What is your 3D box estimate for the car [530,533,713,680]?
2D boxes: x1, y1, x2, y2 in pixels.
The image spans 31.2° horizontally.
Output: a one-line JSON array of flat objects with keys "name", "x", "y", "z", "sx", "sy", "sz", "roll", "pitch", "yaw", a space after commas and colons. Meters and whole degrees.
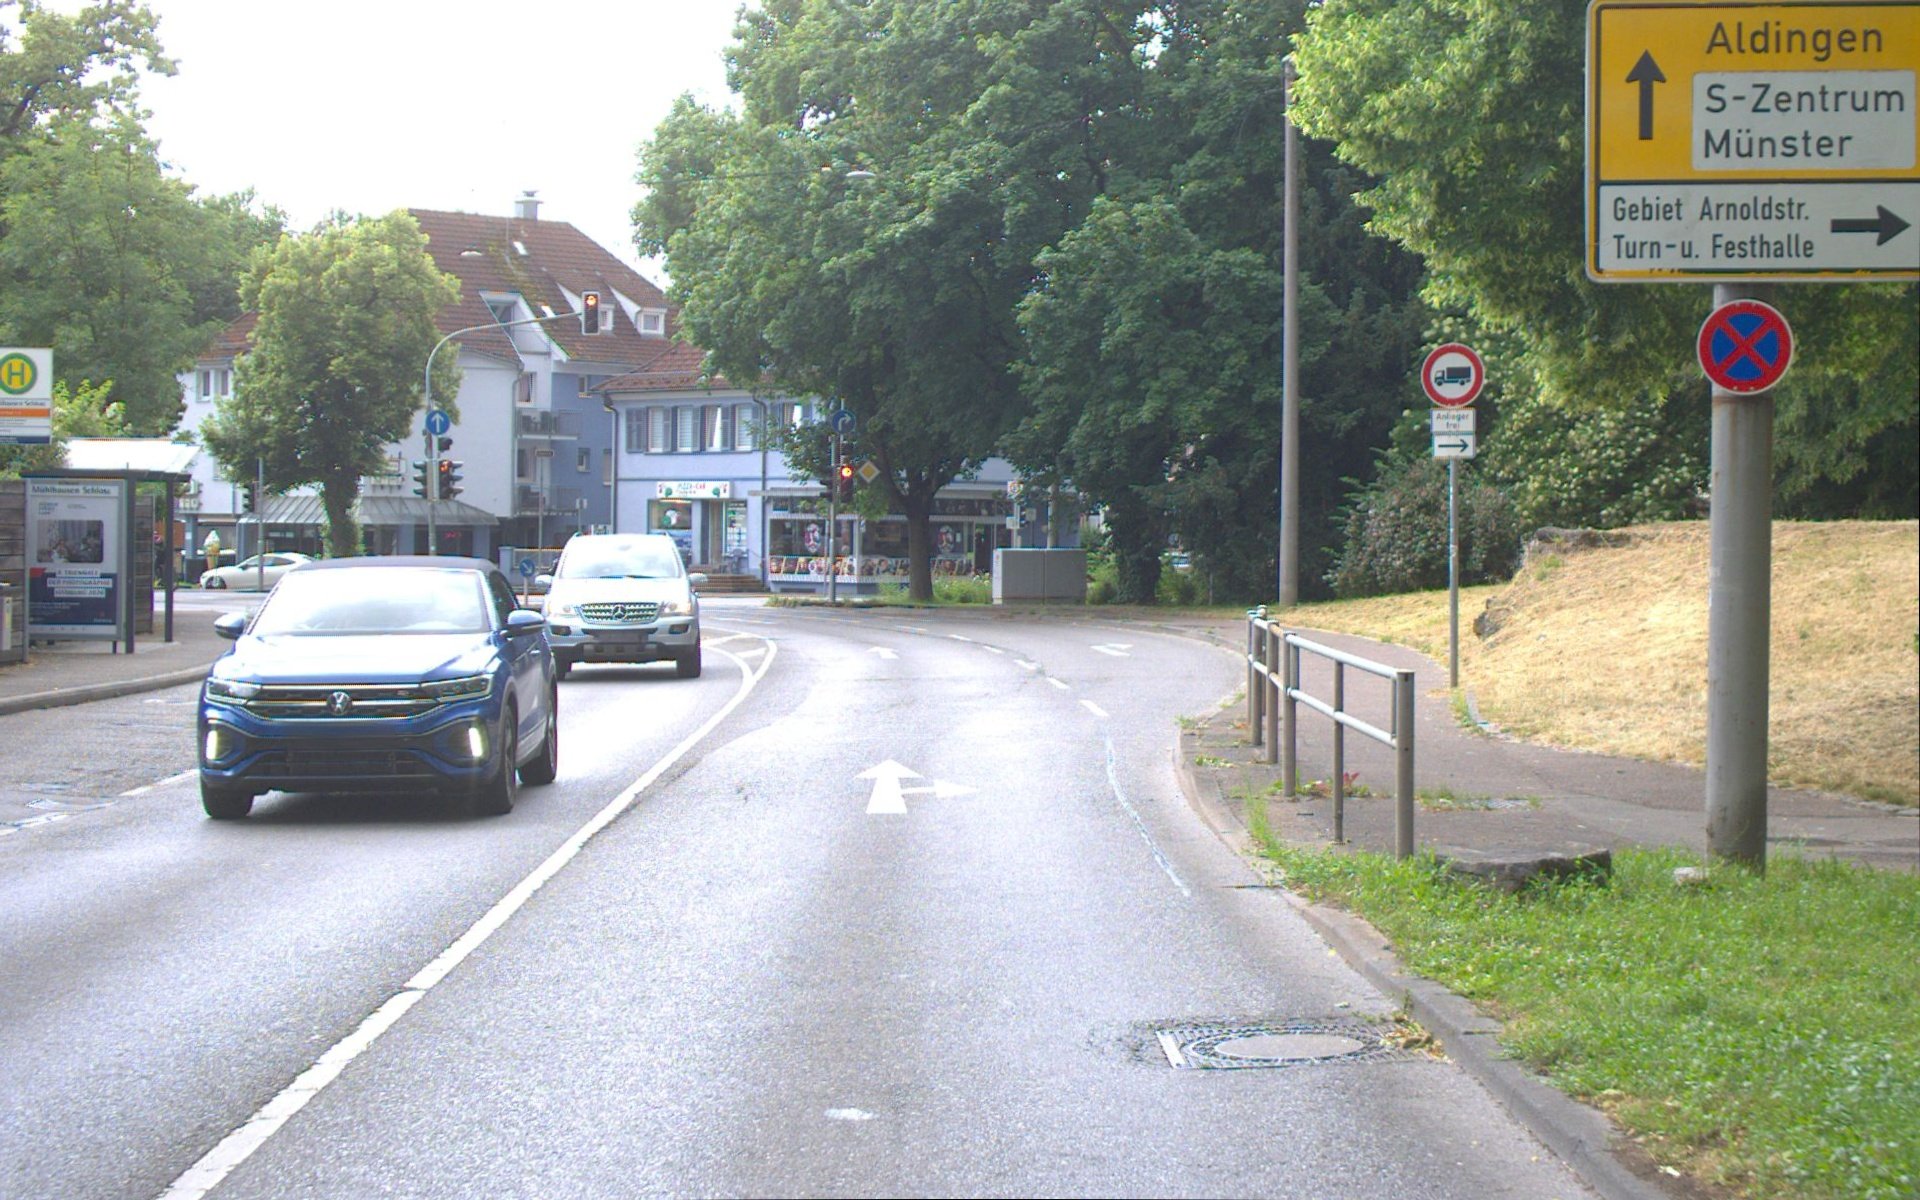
[{"name": "car", "x": -4.155, "y": 0.044, "z": 42.821, "sx": 1.935, "sy": 1.718, "sz": 4.692, "roll": -1, "pitch": 1, "yaw": -2}]

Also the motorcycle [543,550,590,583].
[{"name": "motorcycle", "x": -13.902, "y": -1.184, "z": 121.333, "sx": 1.496, "sy": 1.103, "sz": 0.560, "roll": -1, "pitch": 6, "yaw": 13}]

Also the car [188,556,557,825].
[{"name": "car", "x": -3.530, "y": 0.479, "z": 21.323, "sx": 1.716, "sy": 1.463, "sz": 4.100, "roll": 0, "pitch": 1, "yaw": -2}]

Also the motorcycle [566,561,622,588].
[{"name": "motorcycle", "x": -12.785, "y": -0.893, "z": 119.963, "sx": 1.838, "sy": 0.845, "sz": 0.560, "roll": 0, "pitch": 6, "yaw": 16}]

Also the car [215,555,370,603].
[{"name": "car", "x": -21.986, "y": -0.689, "z": 113.323, "sx": 4.580, "sy": 1.512, "sz": 1.999, "roll": 0, "pitch": 1, "yaw": 14}]
